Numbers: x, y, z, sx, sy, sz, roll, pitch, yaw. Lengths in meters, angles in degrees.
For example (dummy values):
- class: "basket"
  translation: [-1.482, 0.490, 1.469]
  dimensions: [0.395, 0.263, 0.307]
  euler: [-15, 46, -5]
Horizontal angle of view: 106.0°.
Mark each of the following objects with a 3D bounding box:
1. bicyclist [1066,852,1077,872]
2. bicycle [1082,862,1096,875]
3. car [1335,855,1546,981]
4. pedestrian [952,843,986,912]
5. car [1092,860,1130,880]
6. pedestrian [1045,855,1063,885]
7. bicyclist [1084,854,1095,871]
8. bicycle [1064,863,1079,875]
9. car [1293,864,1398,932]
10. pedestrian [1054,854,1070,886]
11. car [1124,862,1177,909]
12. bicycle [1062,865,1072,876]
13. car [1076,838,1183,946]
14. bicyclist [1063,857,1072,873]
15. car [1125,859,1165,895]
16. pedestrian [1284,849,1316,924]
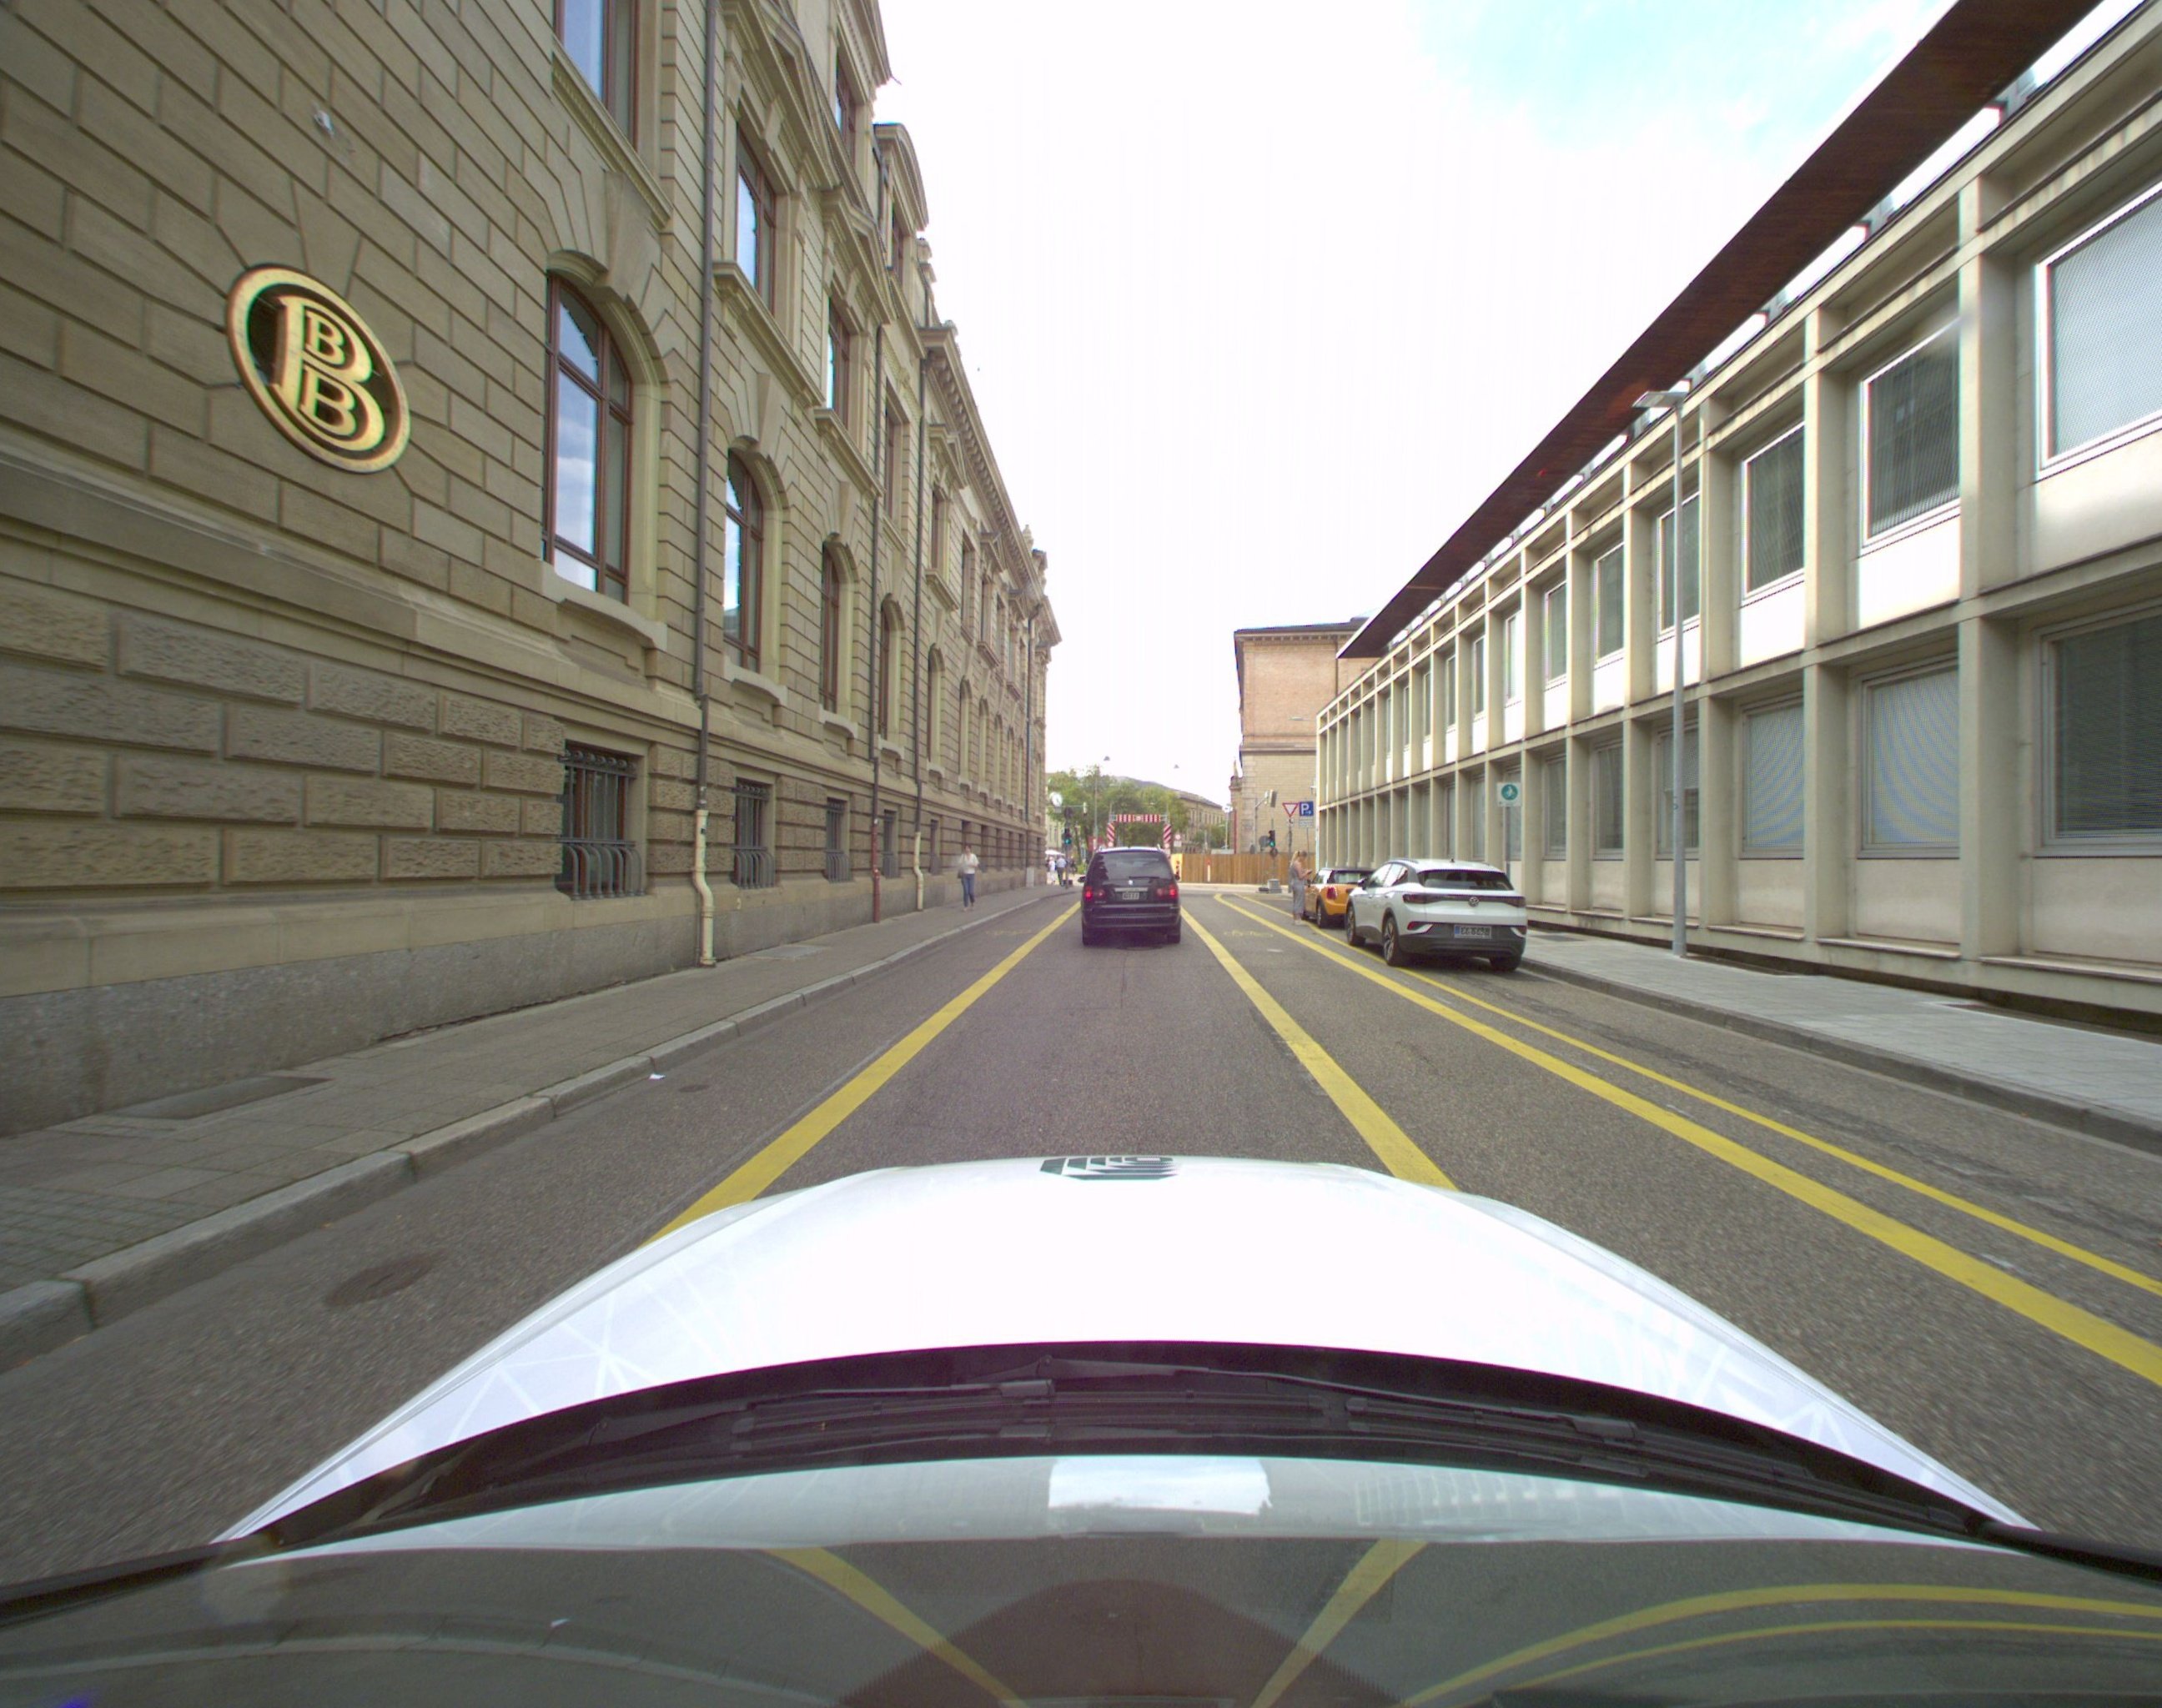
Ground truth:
- class: "bicyclist"
  translation: [-0.780, 0.680, 66.743]
  dimensions: [0.736, 1.612, 0.691]
  euler: [0, -1, -15]
- class: "bicycle"
  translation: [0.655, 1.214, 67.513]
  dimensions: [0.736, 1.009, 2.059]
  euler: [0, -1, -13]
- class: "car"
  translation: [5.608, 0.903, 13.386]
  dimensions: [1.851, 1.605, 4.520]
  euler: [3, -1, 6]
- class: "pedestrian"
  translation: [-3.073, 0.636, 22.357]
  dimensions: [0.661, 1.820, 1.049]
  euler: [2, -1, 3]
- class: "car"
  translation: [2.069, 1.124, 57.597]
  dimensions: [1.653, 1.321, 3.654]
  euler: [0, -1, -16]
- class: "pedestrian"
  translation: [-1.667, 1.005, 50.398]
  dimensions: [0.793, 1.820, 1.042]
  euler: [2, -1, -16]
- class: "bicyclist"
  translation: [0.663, 0.721, 67.478]
  dimensions: [0.736, 1.375, 0.828]
  euler: [0, -1, -13]
- class: "bicycle"
  translation: [-0.804, 1.213, 66.803]
  dimensions: [0.736, 1.009, 2.058]
  euler: [0, -1, -15]
- class: "car"
  translation: [6.356, 1.001, 19.940]
  dimensions: [1.671, 1.435, 3.893]
  euler: [2, -1, 6]
- class: "pedestrian"
  translation: [-1.137, 0.938, 48.143]
  dimensions: [0.789, 1.820, 1.049]
  euler: [2, -1, 3]
- class: "car"
  translation: [2.409, 1.045, 28.108]
  dimensions: [1.670, 1.469, 4.108]
  euler: [1, -1, 5]
- class: "bicycle"
  translation: [-1.272, 1.490, 75.814]
  dimensions: [0.734, 1.009, 2.063]
  euler: [0, -1, -7]
- class: "car"
  translation: [1.044, 0.664, 15.707]
  dimensions: [1.780, 1.790, 4.110]
  euler: [1, -1, 6]
- class: "bicyclist"
  translation: [-1.265, 1.011, 75.814]
  dimensions: [0.734, 1.470, 0.807]
  euler: [0, -1, -7]
- class: "car"
  translation: [2.953, 1.038, 38.104]
  dimensions: [1.765, 1.586, 4.003]
  euler: [0, -1, 3]
- class: "pedestrian"
  translation: [5.280, 0.771, 19.632]
  dimensions: [0.693, 1.764, 0.708]
  euler: [0, -1, 11]
